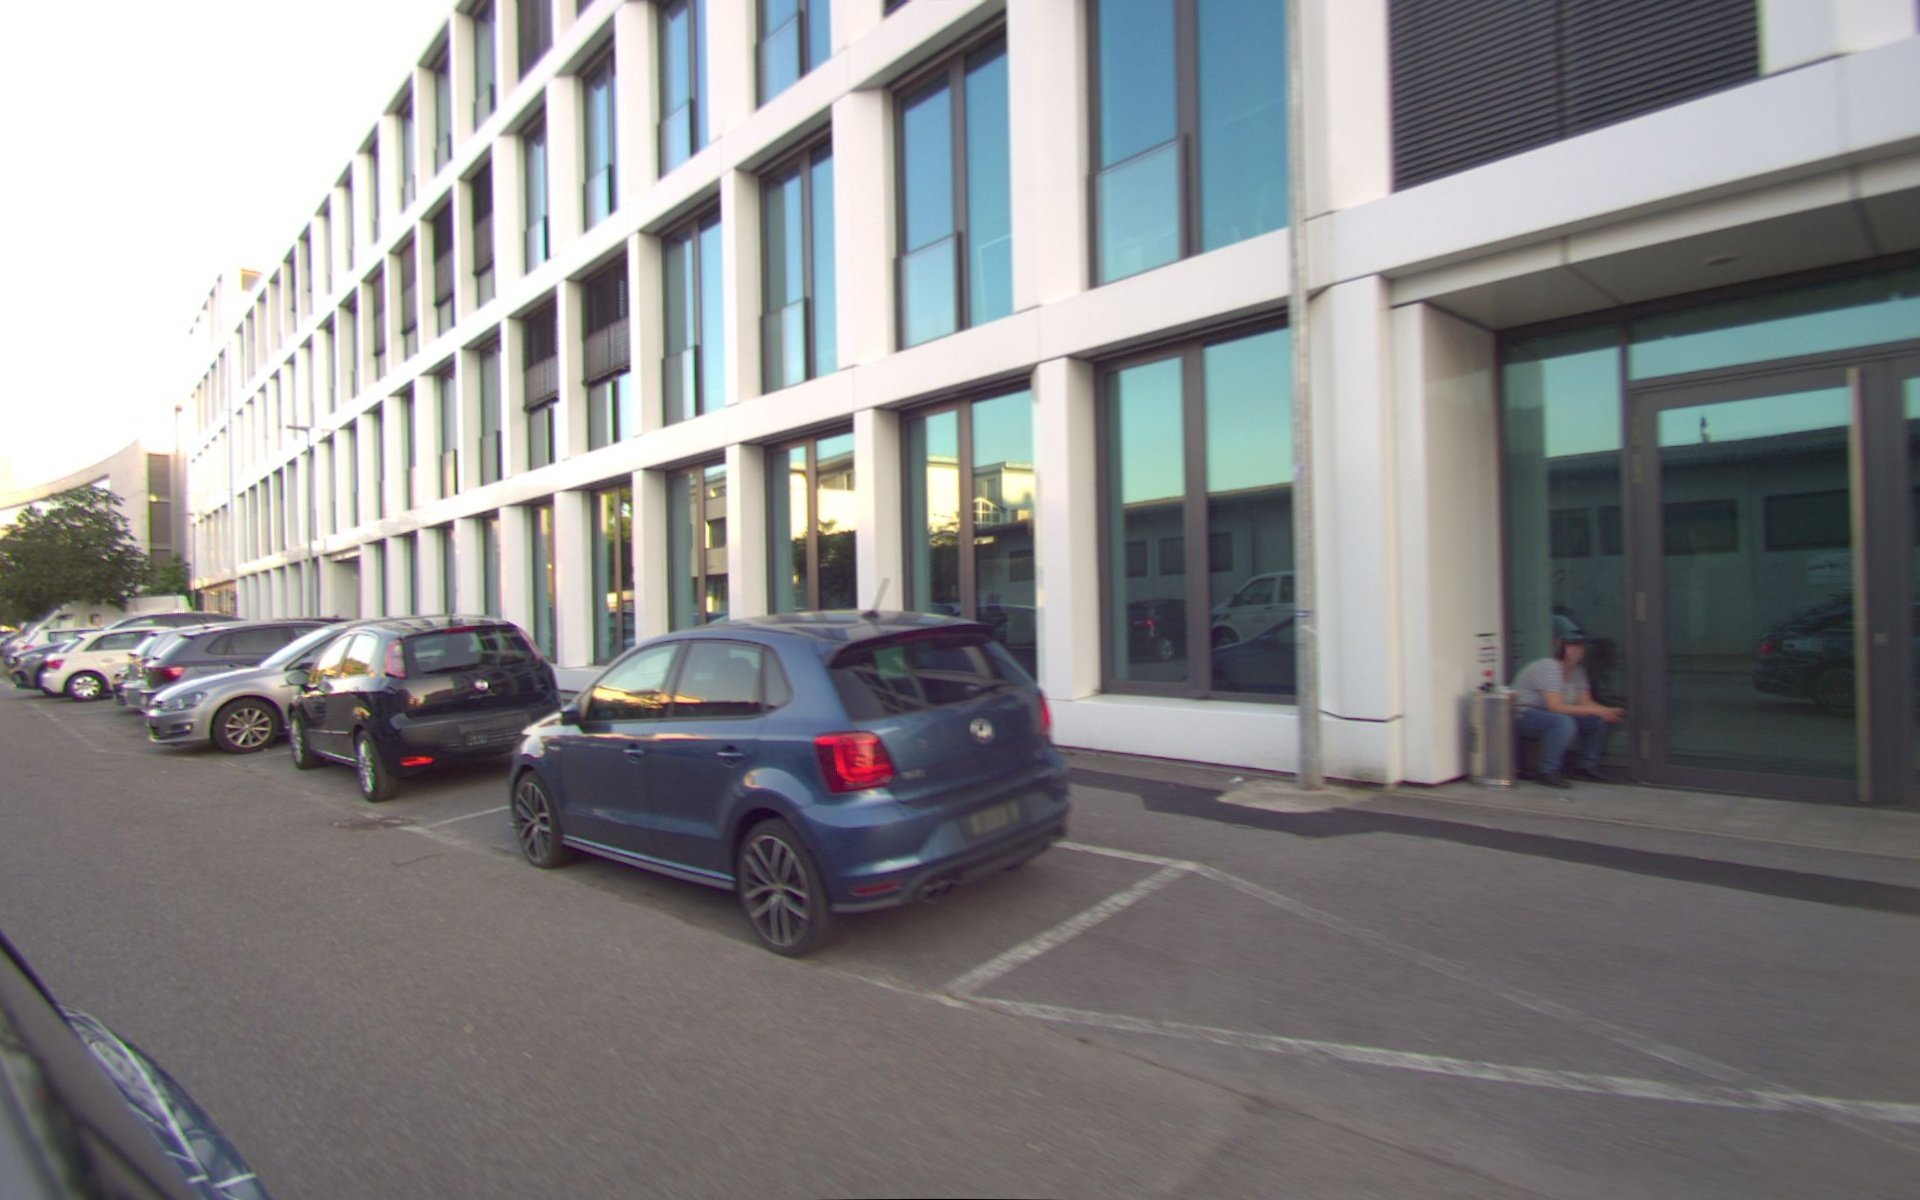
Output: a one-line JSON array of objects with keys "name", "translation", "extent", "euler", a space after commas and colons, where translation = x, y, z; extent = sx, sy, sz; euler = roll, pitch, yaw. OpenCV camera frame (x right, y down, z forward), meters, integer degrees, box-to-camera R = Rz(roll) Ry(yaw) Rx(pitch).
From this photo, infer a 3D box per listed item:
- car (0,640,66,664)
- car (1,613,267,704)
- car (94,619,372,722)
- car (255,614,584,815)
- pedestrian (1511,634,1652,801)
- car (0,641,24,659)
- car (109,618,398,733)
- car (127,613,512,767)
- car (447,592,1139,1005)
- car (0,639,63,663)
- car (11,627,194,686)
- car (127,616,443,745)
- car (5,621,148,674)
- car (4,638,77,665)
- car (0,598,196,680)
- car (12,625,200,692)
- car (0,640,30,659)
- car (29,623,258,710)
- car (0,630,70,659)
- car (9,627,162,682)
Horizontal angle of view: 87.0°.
[{"name": "car", "translation": [-66.120, 3.692, 72.014], "extent": [1.726, 1.435, 3.605], "euler": [-3, 0, 44]}, {"name": "car", "translation": [-18.873, 1.263, 23.322], "extent": [4.562, 1.719, 2.007], "euler": [-2, -1, -41]}, {"name": "car", "translation": [-13.232, 1.206, 18.552], "extent": [3.918, 1.522, 1.797], "euler": [-2, -1, -43]}, {"name": "car", "translation": [-5.487, 0.970, 10.007], "extent": [4.204, 1.449, 1.630], "euler": [-2, 2, 45]}, {"name": "pedestrian", "translation": [4.155, 0.749, 6.772], "extent": [0.580, 1.026, 0.630], "euler": [0, -1, -40]}, {"name": "car", "translation": [-79.709, 4.164, 83.257], "extent": [1.797, 1.371, 3.765], "euler": [-3, 0, 39]}, {"name": "car", "translation": [-11.421, 1.145, 16.496], "extent": [3.612, 1.522, 1.689], "euler": [-2, -1, -44]}, {"name": "car", "translation": [-8.056, 1.027, 12.946], "extent": [3.880, 1.522, 1.689], "euler": [-2, -1, -44]}, {"name": "car", "translation": [-1.236, 0.807, 5.814], "extent": [4.184, 1.449, 1.630], "euler": [-3, 2, 43]}, {"name": "car", "translation": [-67.999, 3.718, 73.881], "extent": [1.726, 1.435, 3.606], "euler": [-3, 0, 43]}, {"name": "car", "translation": [-26.821, 1.724, 31.737], "extent": [4.257, 1.507, 1.796], "euler": [-2, -1, -43]}, {"name": "car", "translation": [-9.867, 1.095, 14.942], "extent": [3.612, 1.522, 1.689], "euler": [-2, -1, -44]}, {"name": "car", "translation": [-35.255, 1.876, 40.465], "extent": [1.815, 1.830, 4.065], "euler": [-3, -1, 41]}, {"name": "car", "translation": [-63.940, 3.553, 70.406], "extent": [1.726, 1.559, 3.605], "euler": [-3, 0, 44]}, {"name": "car", "translation": [-31.413, 1.354, 36.969], "extent": [5.318, 2.652, 2.080], "euler": [-2, -1, -44]}, {"name": "car", "translation": [-23.172, 1.541, 27.552], "extent": [1.694, 1.534, 3.740], "euler": [-3, -1, 44]}, {"name": "car", "translation": [-77.626, 4.071, 81.534], "extent": [1.797, 1.371, 3.765], "euler": [-3, 0, 39]}, {"name": "car", "translation": [-17.165, 1.349, 21.399], "extent": [3.622, 1.522, 1.698], "euler": [-2, -1, -41]}, {"name": "car", "translation": [-70.032, 3.380, 75.649], "extent": [1.887, 1.895, 5.019], "euler": [-3, 0, 39]}, {"name": "car", "translation": [-28.589, 1.755, 33.155], "extent": [3.665, 1.507, 1.708], "euler": [-2, -1, -45]}]
